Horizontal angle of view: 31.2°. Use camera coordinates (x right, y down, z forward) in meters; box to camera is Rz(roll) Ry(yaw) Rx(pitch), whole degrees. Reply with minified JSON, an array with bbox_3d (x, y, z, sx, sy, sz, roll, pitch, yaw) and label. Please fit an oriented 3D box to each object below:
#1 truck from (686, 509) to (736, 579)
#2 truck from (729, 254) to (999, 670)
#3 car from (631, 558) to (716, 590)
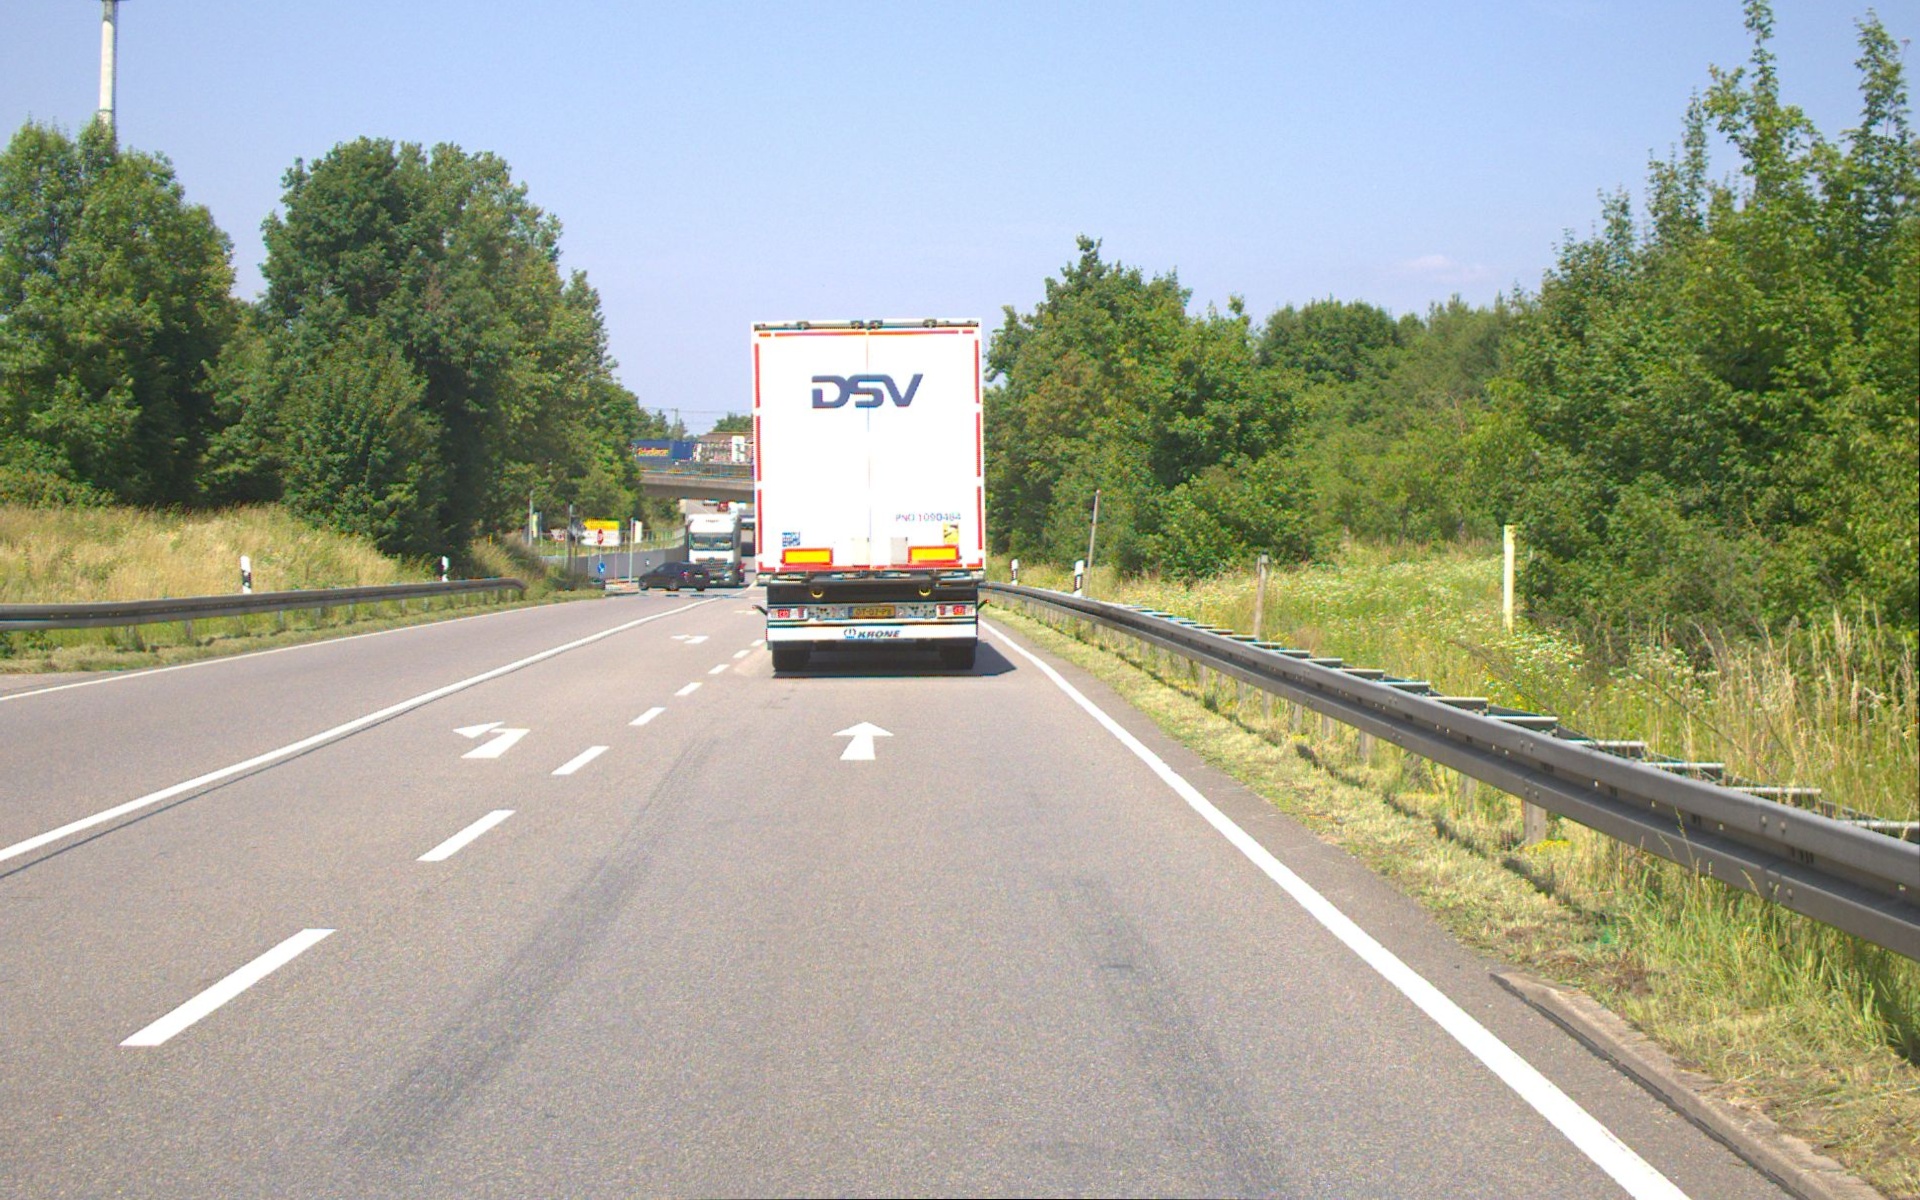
[{"bbox_3d":[-13.916,-3.168,192.405,2.353,3.737,12.627,0,1,-2],"label":"truck"},{"bbox_3d":[-1.123,-1.578,42.637,2.950,4.553,9.863,0,1,-1],"label":"truck"},{"bbox_3d":[-14.301,-1.307,171.719,3.863,1.508,1.712,-1,1,-25],"label":"car"}]
